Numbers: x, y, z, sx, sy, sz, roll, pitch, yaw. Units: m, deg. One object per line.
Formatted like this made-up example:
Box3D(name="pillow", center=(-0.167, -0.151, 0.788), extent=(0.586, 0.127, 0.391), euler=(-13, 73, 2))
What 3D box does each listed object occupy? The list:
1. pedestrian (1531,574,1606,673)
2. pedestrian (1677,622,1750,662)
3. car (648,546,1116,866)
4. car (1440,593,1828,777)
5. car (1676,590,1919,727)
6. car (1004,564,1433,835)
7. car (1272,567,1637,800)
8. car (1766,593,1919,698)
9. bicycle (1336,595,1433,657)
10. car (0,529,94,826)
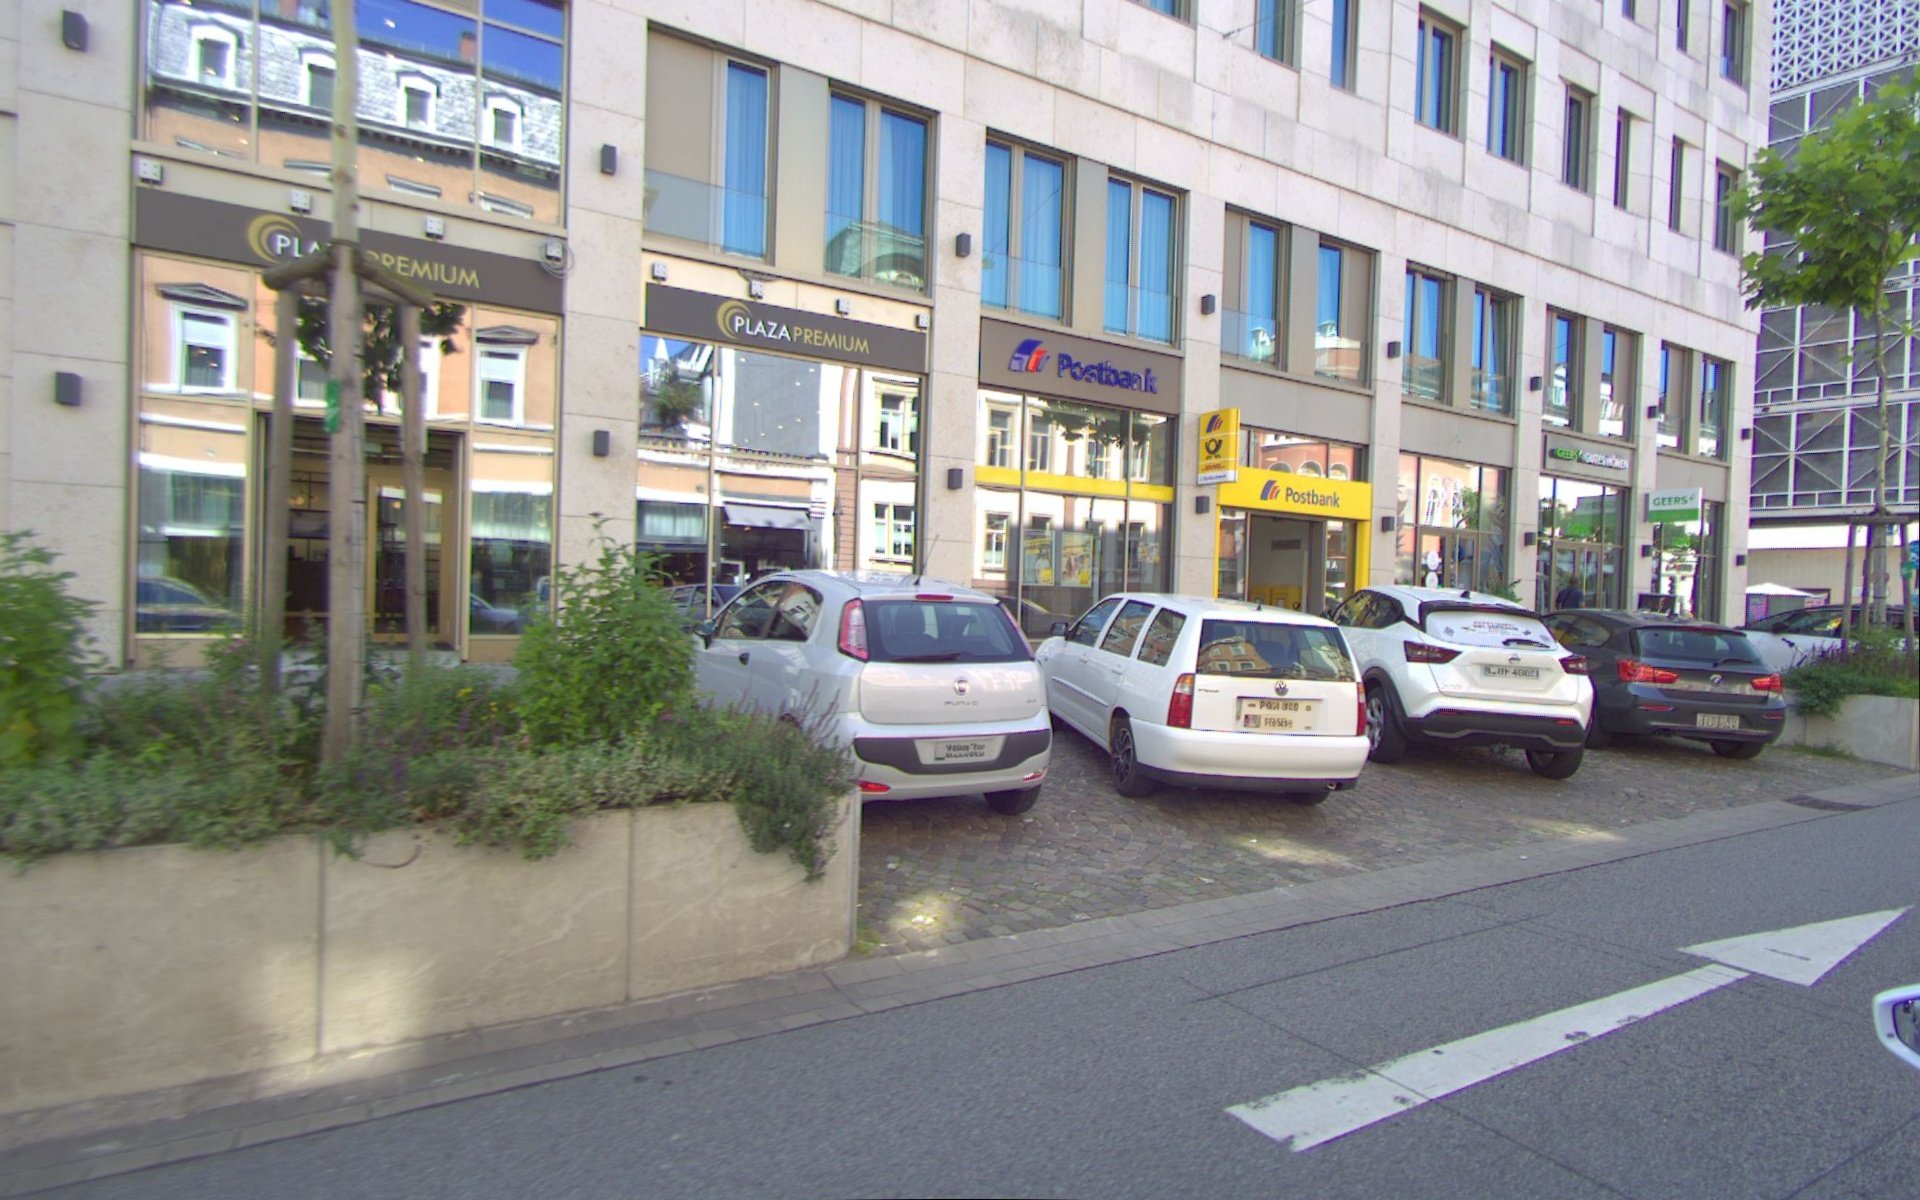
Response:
Box3D(name="pedestrian", center=(12.283, 0.461, 20.287), extent=(0.834, 1.904, 0.834), euler=(1, 4, -29))
Box3D(name="pedestrian", center=(19.004, 1.045, 25.348), extent=(0.832, 0.938, 1.243), euler=(1, 1, -31))
Box3D(name="car", center=(-0.870, 0.503, 7.355), extent=(1.799, 1.548, 3.967), euler=(3, 3, -30))
Box3D(name="car", center=(7.436, 0.790, 11.729), extent=(1.751, 1.469, 4.319), euler=(3, 3, 4))
Box3D(name="car", center=(13.862, 0.858, 15.412), extent=(2.071, 1.659, 4.149), euler=(2, 4, -21))
Box3D(name="car", center=(1.782, 0.592, 8.673), extent=(1.830, 1.452, 4.491), euler=(3, 5, -10))
Box3D(name="car", center=(4.679, 0.624, 10.281), extent=(1.783, 1.615, 4.038), euler=(4, 5, 3))
Box3D(name="car", center=(16.655, 0.821, 17.323), extent=(1.922, 1.624, 4.029), euler=(3, 2, -7))
Box3D(name="bicycle", center=(8.157, 0.500, 19.277), extent=(2.136, 1.122, 0.493), euler=(1, 3, -30))
Box3D(name="car", center=(-5.884, 0.487, 3.499), extent=(1.757, 1.525, 4.530), euler=(3, 4, 1))
